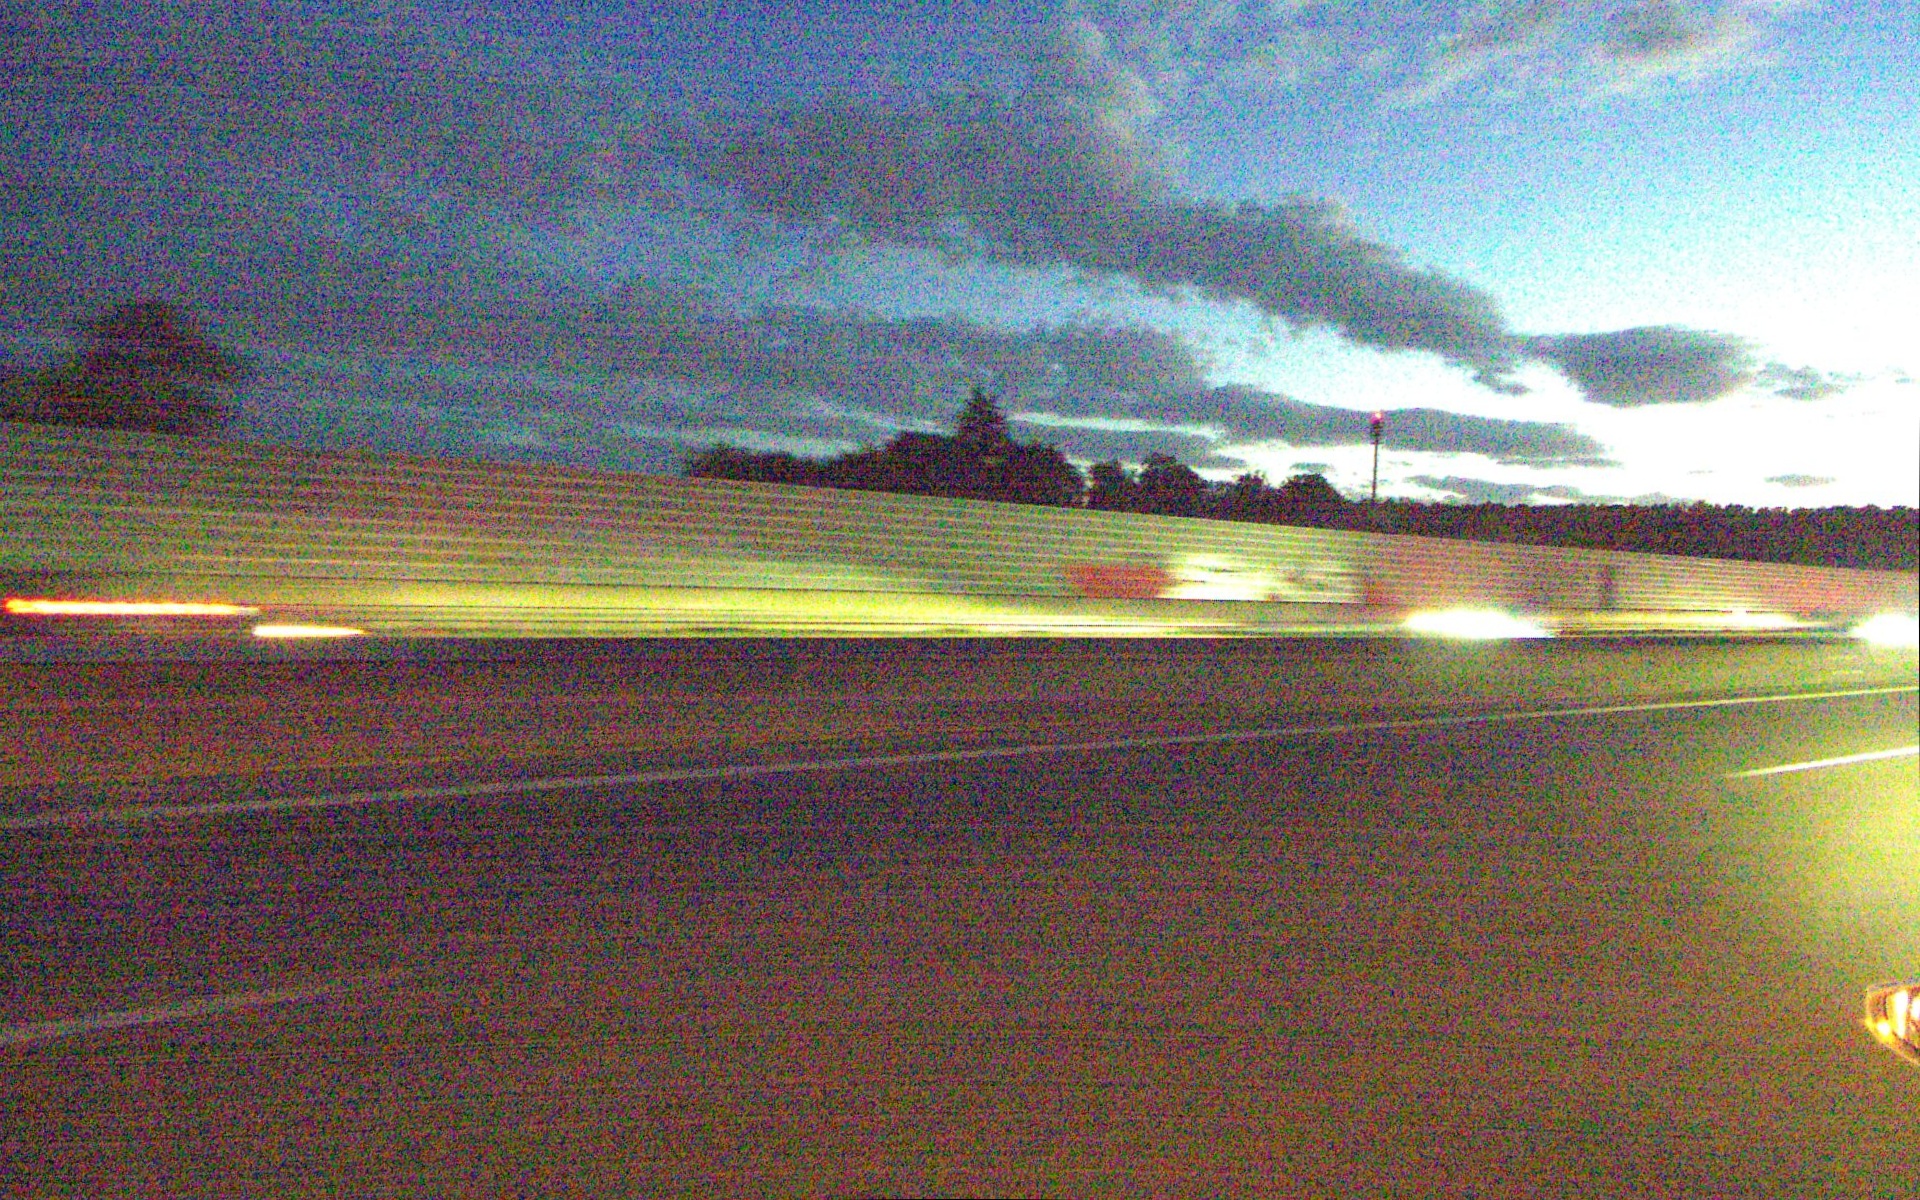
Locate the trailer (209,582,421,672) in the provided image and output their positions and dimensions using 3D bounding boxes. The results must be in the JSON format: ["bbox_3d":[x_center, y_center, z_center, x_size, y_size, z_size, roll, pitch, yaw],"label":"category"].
[{"bbox_3d":[-11.748,0.468,18.536,3.092,1.501,2.173,1,1,-30],"label":"trailer"}]

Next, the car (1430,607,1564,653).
[{"bbox_3d":[20.110,1.127,37.598,5.050,1.576,2.108,2,0,-31],"label":"car"}]

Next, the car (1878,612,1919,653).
[{"bbox_3d":[40.283,1.371,41.506,5.050,1.576,2.108,2,0,-31],"label":"car"}]

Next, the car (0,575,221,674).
[{"bbox_3d":[-15.422,0.358,16.364,5.181,1.501,2.173,1,1,-30],"label":"car"}]
